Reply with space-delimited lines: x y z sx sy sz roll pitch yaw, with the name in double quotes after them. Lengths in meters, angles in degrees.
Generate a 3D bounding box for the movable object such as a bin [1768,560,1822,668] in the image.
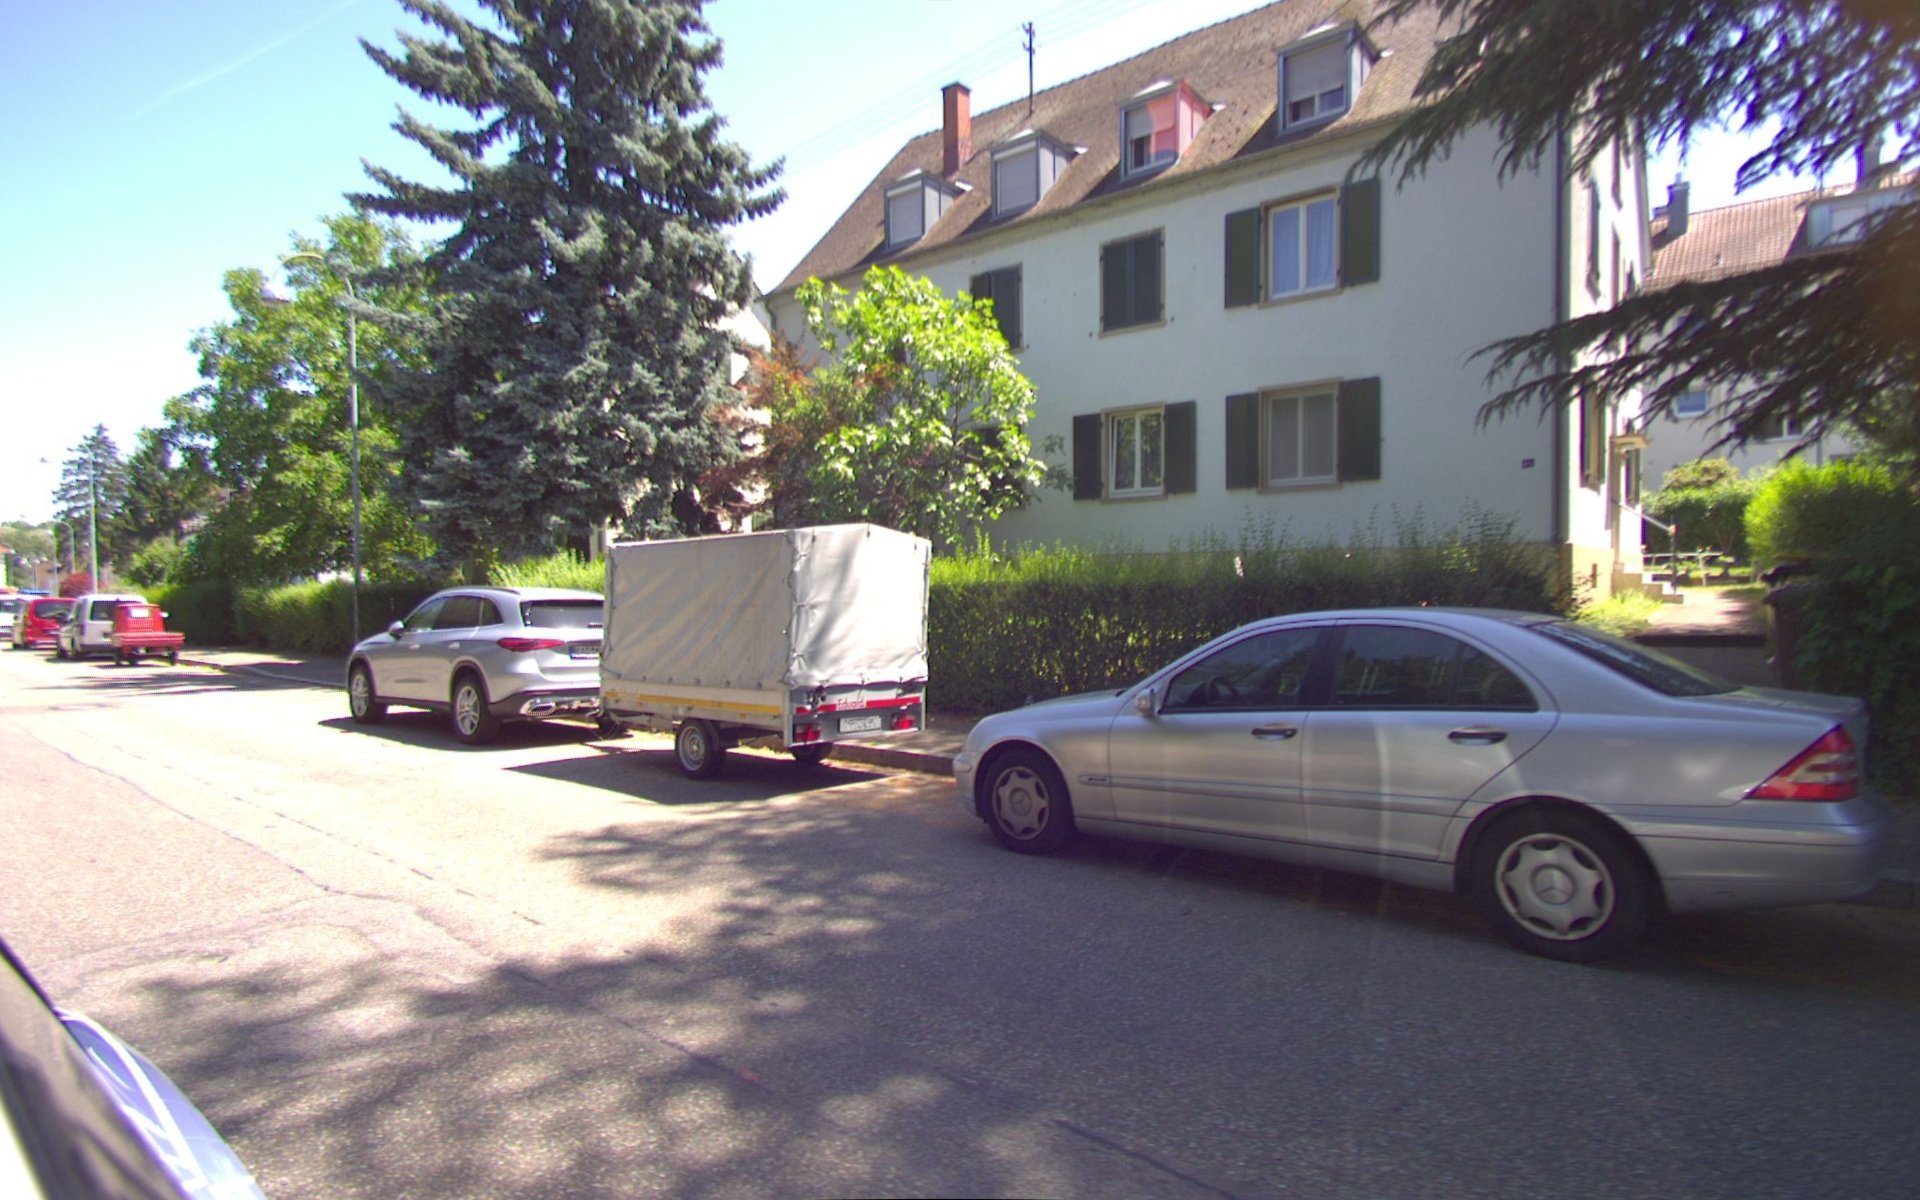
7.256 0.115 8.804 0.343 0.909 0.404 -1 0 39 "movable object such as a bin"

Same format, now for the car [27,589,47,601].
-145.742 -0.828 159.787 1.864 1.749 4.008 1 -1 -36 "car"

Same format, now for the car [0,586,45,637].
-40.911 0.504 43.583 3.998 2.131 1.868 0 -2 43 "car"

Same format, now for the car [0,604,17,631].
-60.753 1.065 63.587 3.998 1.650 1.868 0 -2 43 "car"

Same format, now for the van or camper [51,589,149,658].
-23.764 0.628 27.916 3.887 1.784 1.563 -1 -1 42 "van or camper"

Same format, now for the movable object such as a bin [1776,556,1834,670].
6.951 0.102 8.335 0.343 0.909 0.404 -1 0 38 "movable object such as a bin"

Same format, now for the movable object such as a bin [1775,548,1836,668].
6.633 0.062 7.948 0.343 0.909 0.404 -1 0 38 "movable object such as a bin"

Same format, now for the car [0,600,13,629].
-64.218 0.943 67.060 4.000 1.837 1.867 0 -2 44 "car"

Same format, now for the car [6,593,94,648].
-31.074 0.679 34.524 3.612 1.772 1.868 0 -2 43 "car"

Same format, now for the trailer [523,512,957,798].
-2.127 0.426 9.241 3.996 2.049 1.796 -1 -2 40 "trailer"

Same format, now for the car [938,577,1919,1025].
2.132 0.677 5.322 4.474 1.453 1.778 -1 -1 41 "car"

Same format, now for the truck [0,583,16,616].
-88.214 -0.050 92.576 2.194 2.954 6.735 2 -1 -40 "truck"

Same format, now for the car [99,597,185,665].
-20.053 0.732 24.804 2.320 1.589 1.291 -1 -1 42 "car"

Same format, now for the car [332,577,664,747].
-5.529 0.624 11.838 4.545 1.631 1.750 -1 -1 40 "car"
